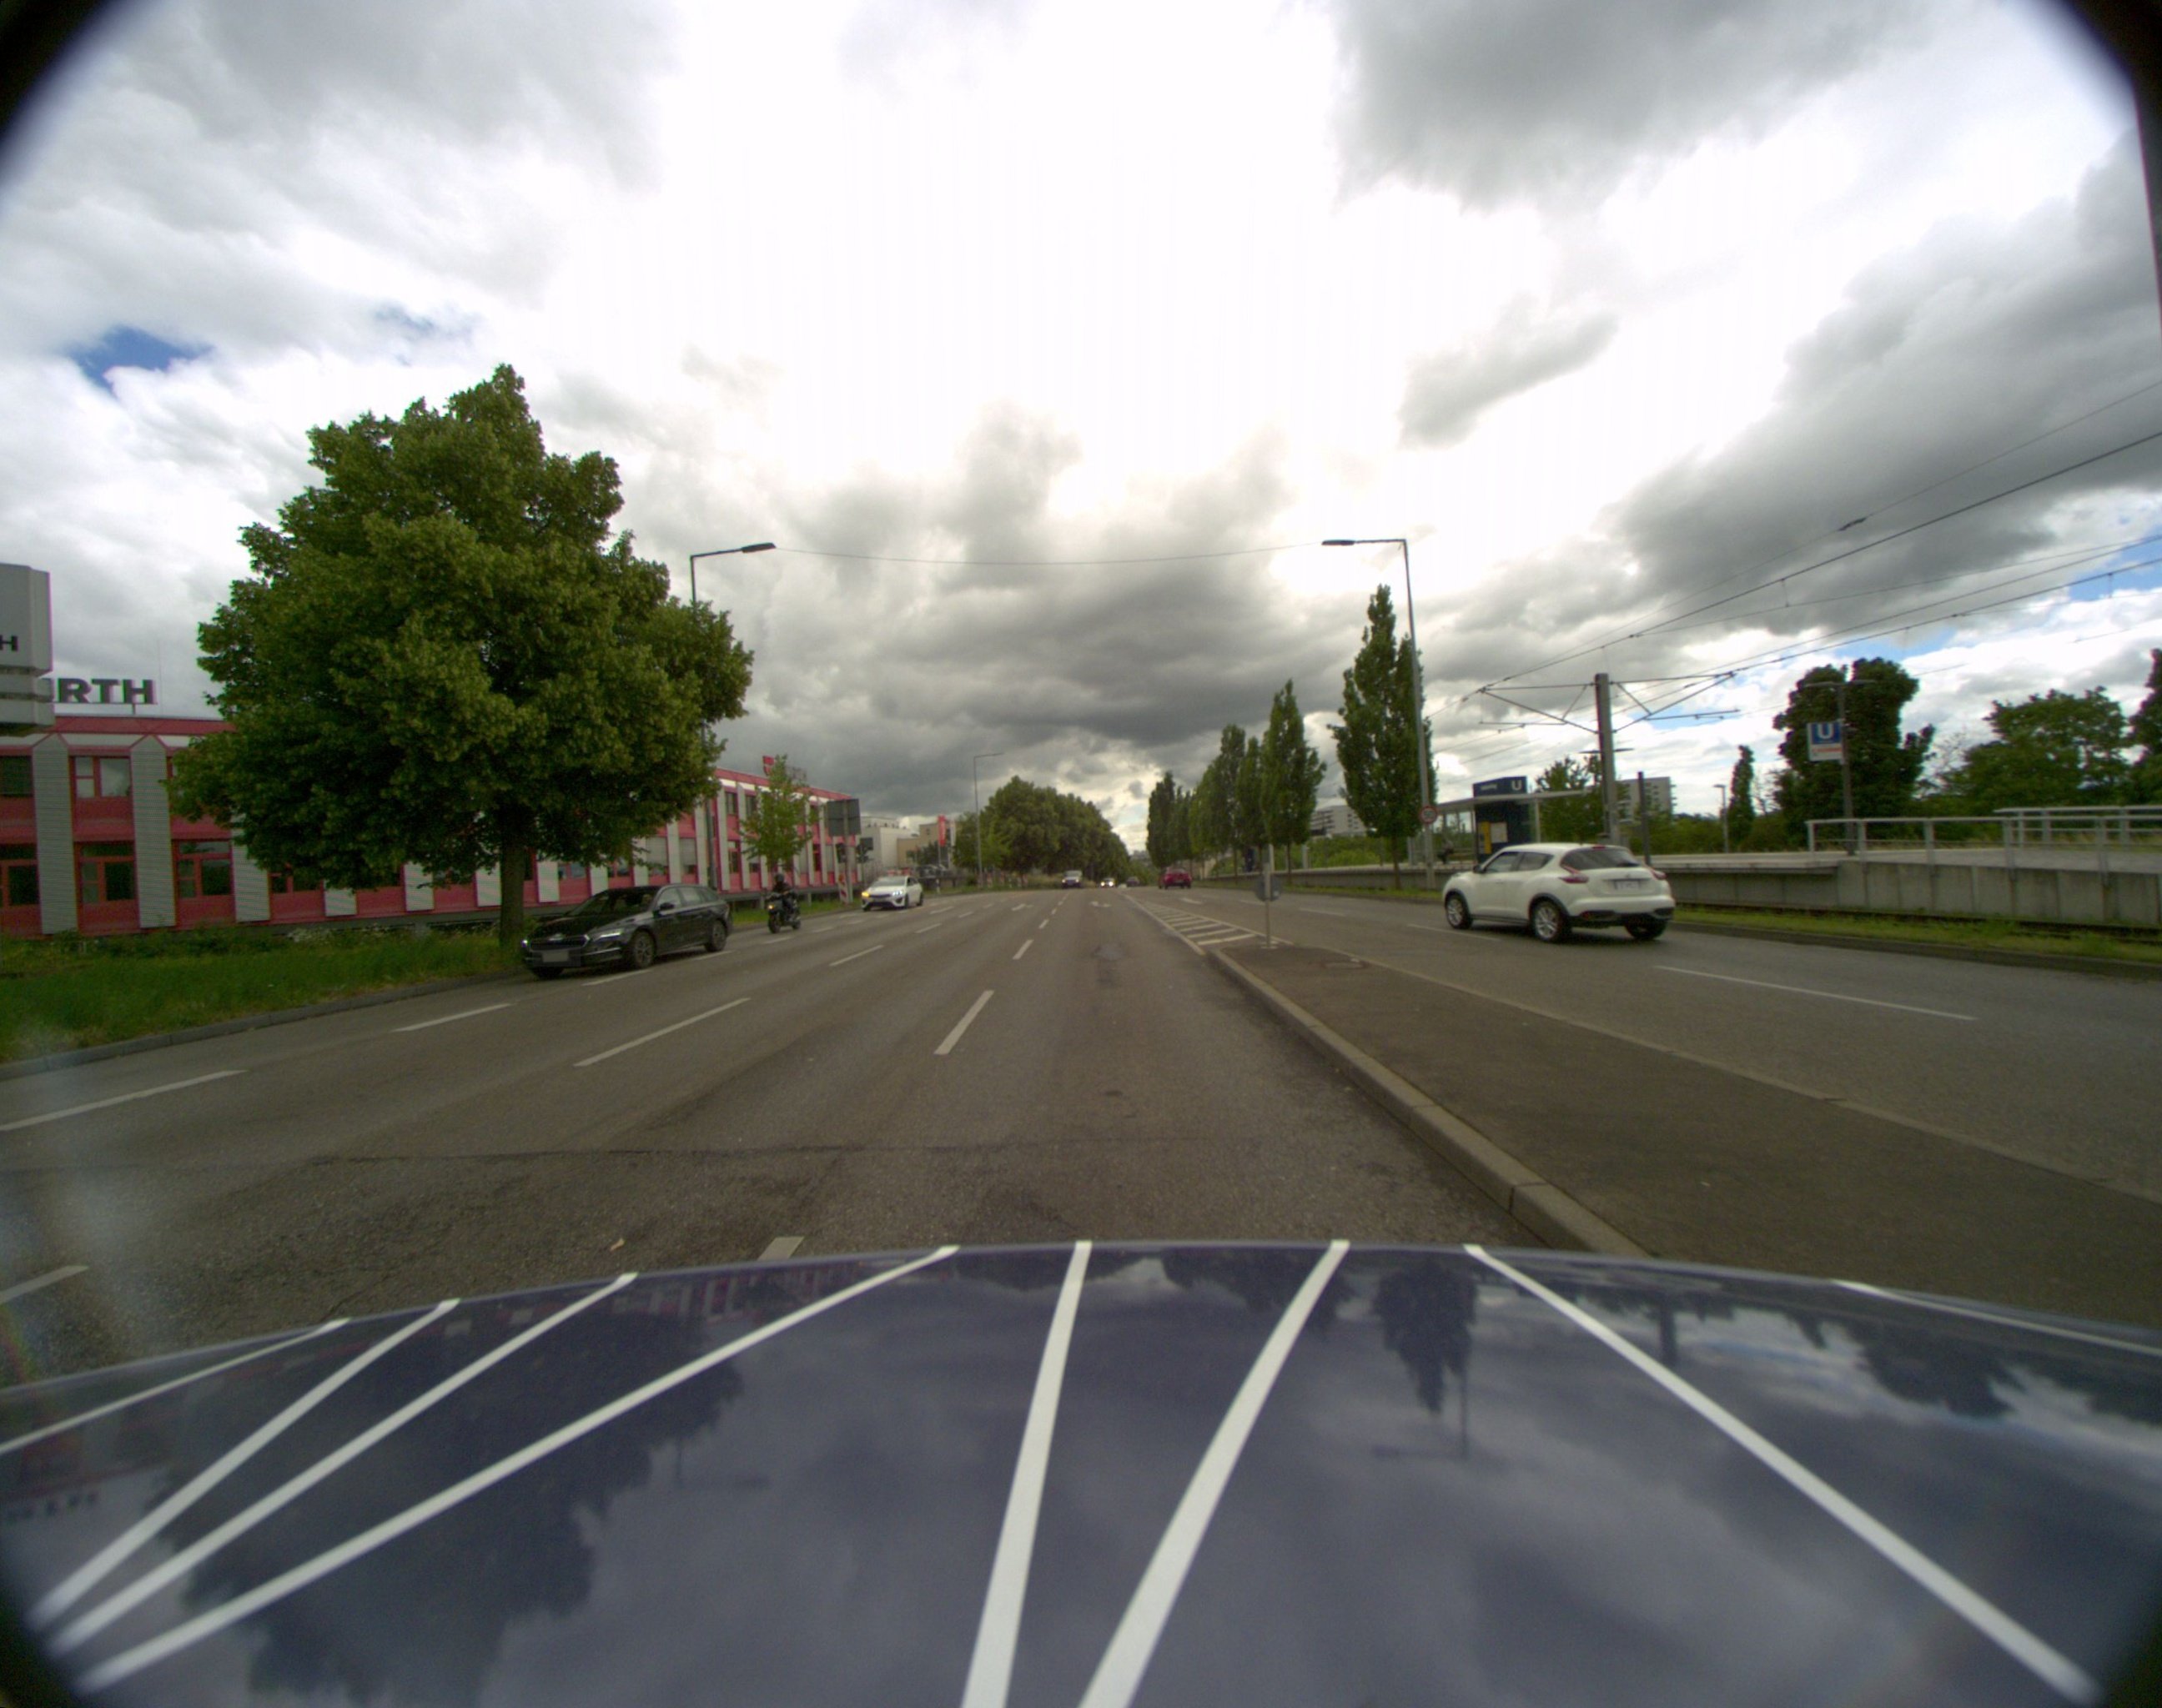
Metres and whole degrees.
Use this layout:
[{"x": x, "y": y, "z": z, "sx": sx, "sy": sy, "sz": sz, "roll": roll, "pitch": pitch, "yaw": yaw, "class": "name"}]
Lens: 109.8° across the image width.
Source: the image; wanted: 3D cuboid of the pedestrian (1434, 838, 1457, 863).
[{"x": 17.624, "y": -0.170, "z": 36.726, "sx": 0.663, "sy": 1.195, "sz": 0.782, "roll": -2, "pitch": 0, "yaw": -7, "class": "pedestrian"}]

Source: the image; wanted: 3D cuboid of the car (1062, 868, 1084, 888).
[{"x": -0.731, "y": 2.318, "z": 74.088, "sx": 1.782, "sy": 1.744, "sz": 4.253, "roll": -2, "pitch": 0, "yaw": 4, "class": "car"}]

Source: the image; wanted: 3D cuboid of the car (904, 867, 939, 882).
[{"x": -21.212, "y": 2.696, "z": 100.999, "sx": 4.248, "sy": 1.744, "sz": 1.784, "roll": -2, "pitch": 0, "yaw": 2, "class": "car"}]

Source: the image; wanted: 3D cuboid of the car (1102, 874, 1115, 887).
[{"x": 4.313, "y": 4.119, "z": 117.751, "sx": 1.984, "sy": 1.744, "sz": 4.253, "roll": -2, "pitch": 0, "yaw": 3, "class": "car"}]

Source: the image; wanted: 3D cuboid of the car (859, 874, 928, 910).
[{"x": -7.902, "y": 1.578, "z": 32.496, "sx": 1.785, "sy": 1.354, "sz": 4.480, "roll": -2, "pitch": -2, "yaw": 0, "class": "car"}]

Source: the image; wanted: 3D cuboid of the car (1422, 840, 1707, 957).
[{"x": 7.923, "y": 0.628, "z": 13.078, "sx": 1.834, "sy": 1.619, "sz": 4.423, "roll": -2, "pitch": 0, "yaw": -4, "class": "car"}]

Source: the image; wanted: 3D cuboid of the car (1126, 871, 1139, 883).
[{"x": 7.428, "y": 3.301, "z": 108.624, "sx": 1.782, "sy": 1.537, "sz": 4.226, "roll": -2, "pitch": 0, "yaw": 4, "class": "car"}]

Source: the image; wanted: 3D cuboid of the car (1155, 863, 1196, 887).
[{"x": 6.210, "y": 1.390, "z": 50.400, "sx": 1.786, "sy": 1.434, "sz": 4.424, "roll": -3, "pitch": -1, "yaw": -4, "class": "car"}]

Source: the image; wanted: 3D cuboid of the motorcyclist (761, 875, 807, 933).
[{"x": -8.126, "y": 1.351, "z": 20.823, "sx": 0.749, "sy": 1.481, "sz": 0.934, "roll": -4, "pitch": -1, "yaw": 6, "class": "motorcyclist"}]

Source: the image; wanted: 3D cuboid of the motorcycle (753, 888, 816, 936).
[{"x": -8.105, "y": 1.563, "z": 20.879, "sx": 0.749, "sy": 1.140, "sz": 1.944, "roll": -4, "pitch": -1, "yaw": 6, "class": "motorcycle"}]

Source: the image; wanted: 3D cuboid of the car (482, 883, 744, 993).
[{"x": -8.203, "y": 1.379, "z": 13.947, "sx": 1.785, "sy": 1.437, "sz": 4.529, "roll": -6, "pitch": -1, "yaw": 2, "class": "car"}]
